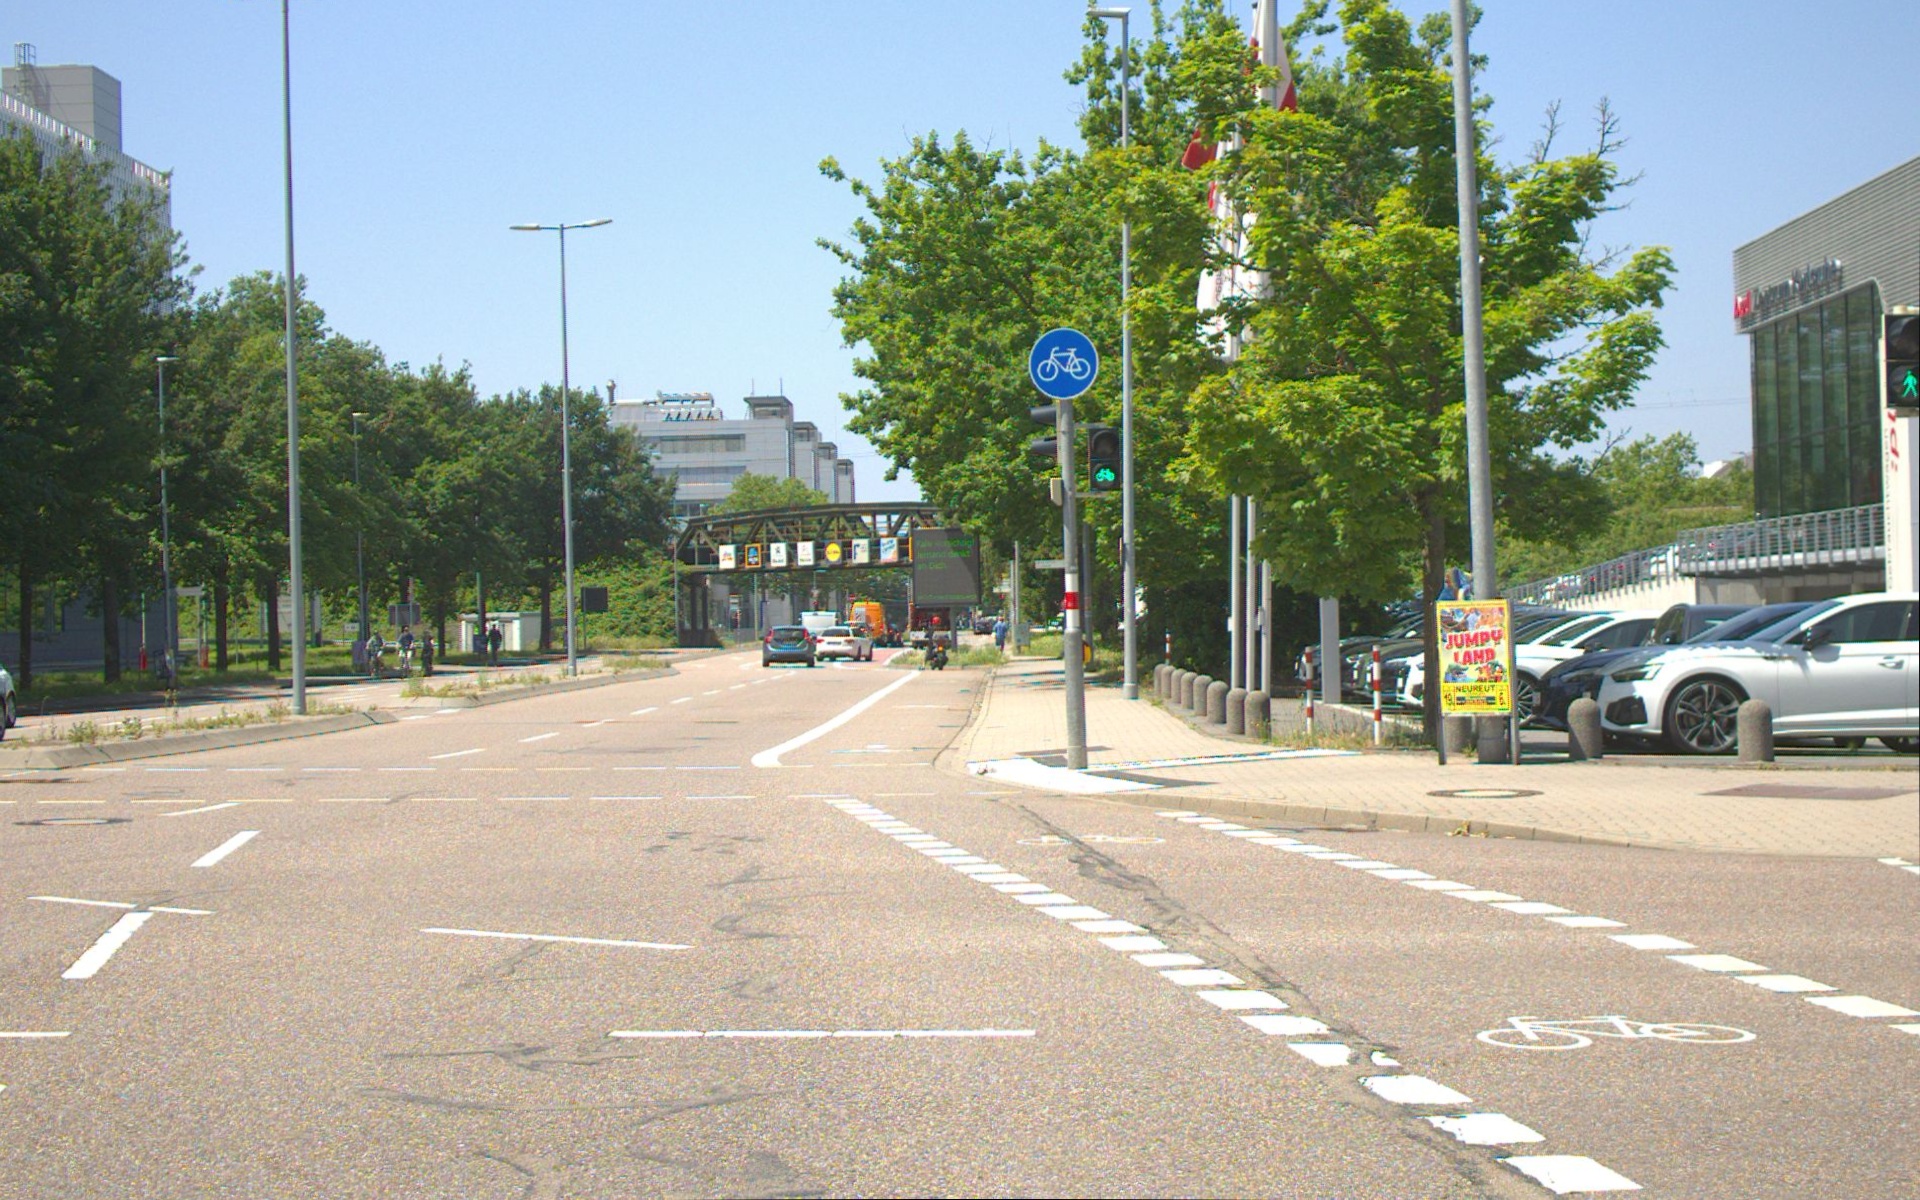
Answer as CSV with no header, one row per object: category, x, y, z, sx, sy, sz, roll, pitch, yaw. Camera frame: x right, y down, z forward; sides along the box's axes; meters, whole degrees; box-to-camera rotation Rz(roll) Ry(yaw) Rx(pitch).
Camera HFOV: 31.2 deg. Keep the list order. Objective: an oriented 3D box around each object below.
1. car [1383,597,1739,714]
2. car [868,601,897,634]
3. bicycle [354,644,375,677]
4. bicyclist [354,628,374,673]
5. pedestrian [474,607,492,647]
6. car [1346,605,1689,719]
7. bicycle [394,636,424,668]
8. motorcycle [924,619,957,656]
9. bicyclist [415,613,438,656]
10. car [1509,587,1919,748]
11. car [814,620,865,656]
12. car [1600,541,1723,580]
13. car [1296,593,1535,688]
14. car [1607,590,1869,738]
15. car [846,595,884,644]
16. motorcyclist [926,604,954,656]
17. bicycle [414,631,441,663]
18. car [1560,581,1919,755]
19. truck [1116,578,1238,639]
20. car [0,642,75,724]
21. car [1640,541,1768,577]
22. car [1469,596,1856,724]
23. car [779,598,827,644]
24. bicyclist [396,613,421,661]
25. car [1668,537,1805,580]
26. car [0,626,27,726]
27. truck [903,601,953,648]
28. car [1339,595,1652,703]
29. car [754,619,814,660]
car,7.433,0.678,42.787,4.099,1.344,1.869,1,0,1
car,-4.970,1.118,219.922,1.751,2.007,3.871,-1,0,0
bicycle,-21.148,2.139,122.102,0.637,1.130,1.971,-1,0,-8
bicyclist,-21.151,1.789,122.083,0.637,1.577,0.884,-1,0,-8
pedestrian,-22.799,1.301,164.417,0.743,1.878,0.577,-1,0,1
car,7.317,0.811,45.437,4.226,1.386,1.869,1,0,1
bicycle,-19.495,1.833,121.664,0.739,1.121,2.434,-1,0,-3
motorcycle,-0.591,1.105,102.228,0.716,1.101,1.830,0,-1,-9
bicyclist,-20.276,1.311,130.726,0.633,1.623,1.044,-3,0,0
car,7.319,0.621,32.052,4.096,1.386,1.869,1,0,1
car,-4.928,1.543,140.986,1.924,1.415,4.000,0,0,0
car,25.263,-1.408,123.901,3.986,1.307,1.797,1,0,-3
car,7.440,0.657,56.384,3.681,1.448,1.834,1,0,1
car,8.098,0.641,36.180,1.863,1.415,4.662,1,0,3
car,-5.650,1.140,205.220,2.073,2.845,6.765,-1,0,0
motorcyclist,-0.591,0.891,102.247,0.719,1.524,0.871,0,-1,-9
bicycle,-20.251,1.777,130.741,0.629,1.155,2.117,-3,0,0
car,7.590,0.585,29.430,4.592,1.386,1.869,1,0,2
truck,10.485,0.408,166.478,5.595,2.841,2.624,1,0,-4
car,-17.660,1.535,62.575,1.726,1.441,4.451,-3,-1,2
car,25.322,-1.395,117.109,3.938,1.207,1.717,0,0,-3
car,8.085,0.685,39.842,4.096,1.360,1.874,1,0,1
car,-7.093,0.943,155.413,1.993,2.007,4.000,0,0,0
bicyclist,-19.499,1.297,121.542,0.745,1.680,0.952,-1,0,-3
car,25.214,-1.332,111.744,3.986,1.307,1.797,1,0,-3
car,-14.810,1.129,48.437,1.727,1.441,4.719,-3,-1,3
truck,-1.659,1.244,181.165,2.458,2.402,7.133,1,0,1
car,7.493,0.679,48.355,4.101,1.400,1.869,1,0,1
car,-6.230,1.388,121.943,1.900,1.371,4.231,-1,0,0
